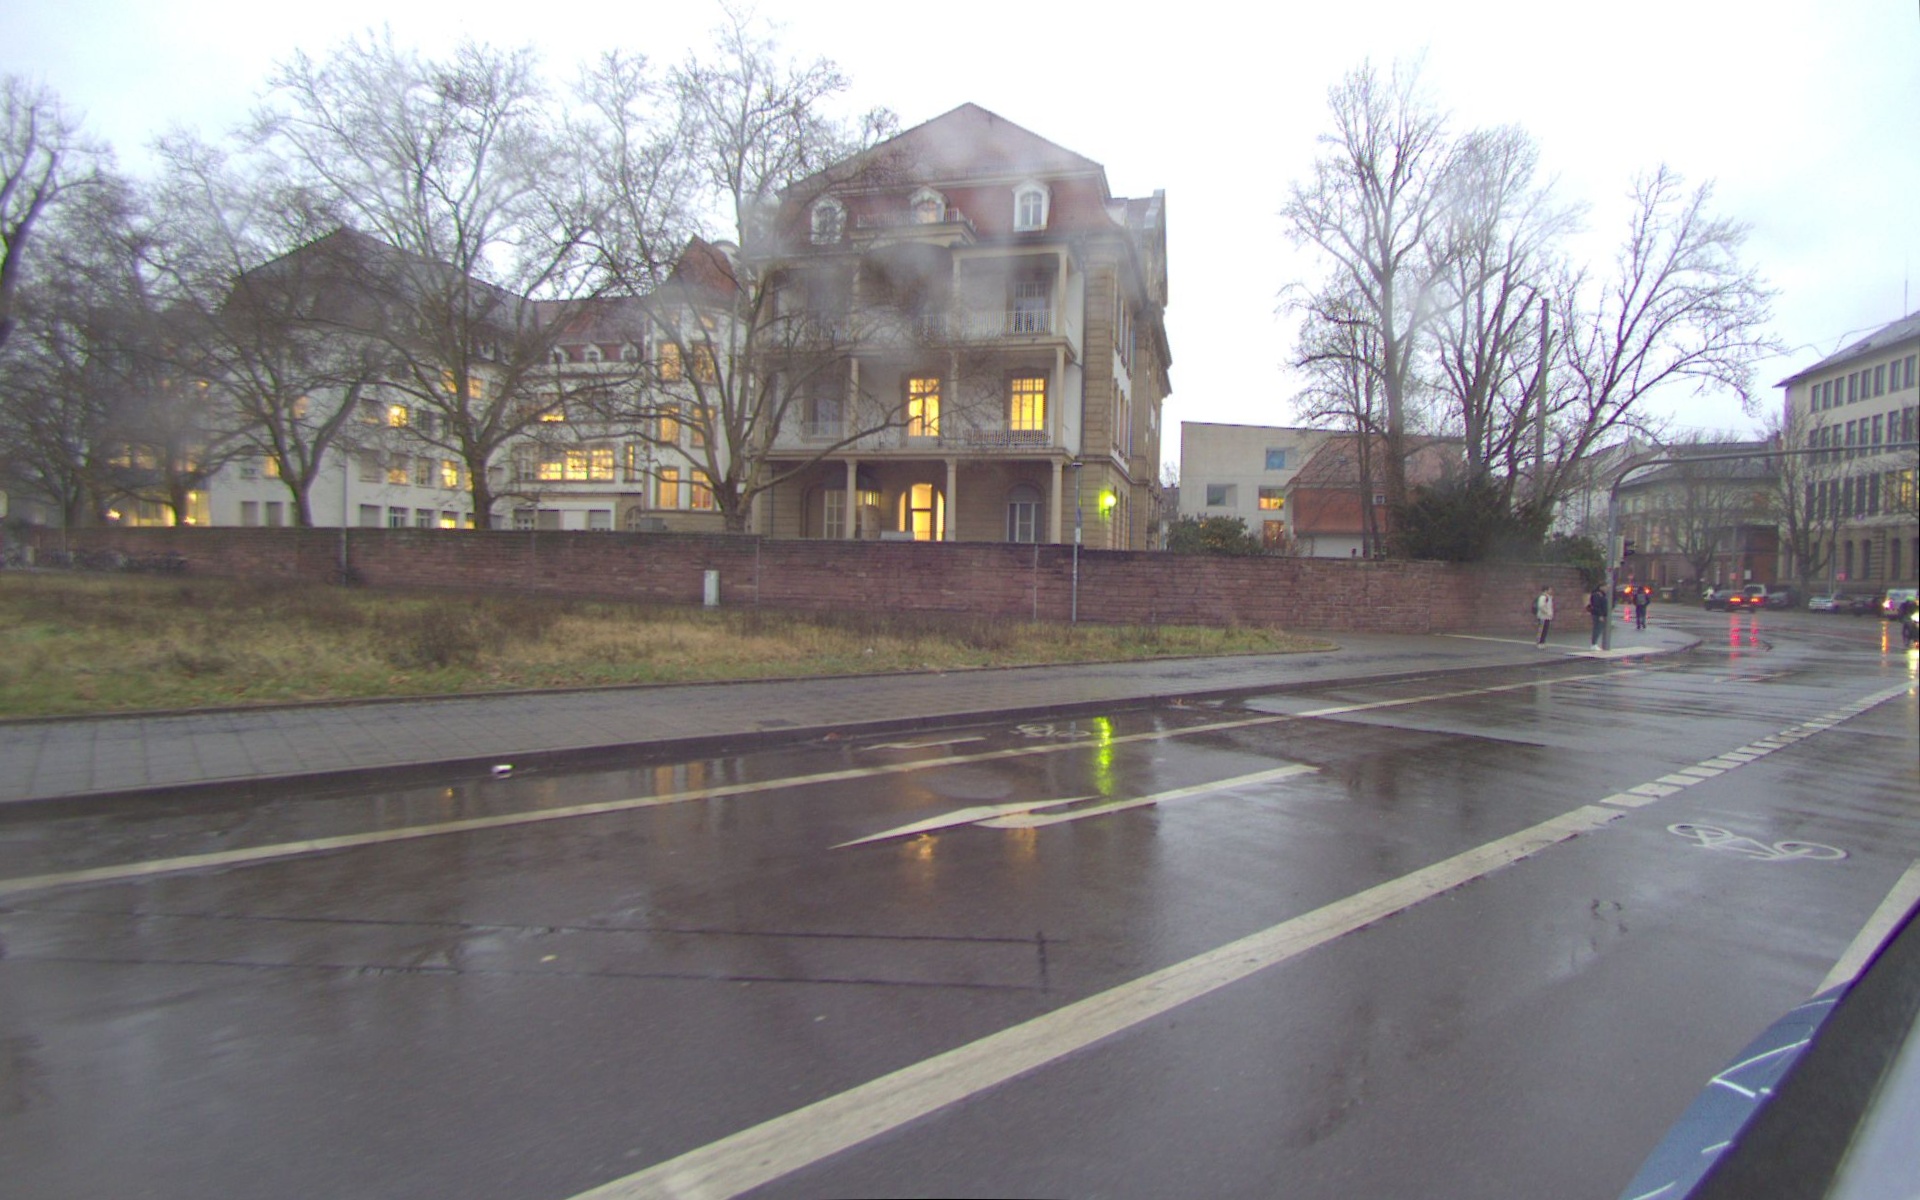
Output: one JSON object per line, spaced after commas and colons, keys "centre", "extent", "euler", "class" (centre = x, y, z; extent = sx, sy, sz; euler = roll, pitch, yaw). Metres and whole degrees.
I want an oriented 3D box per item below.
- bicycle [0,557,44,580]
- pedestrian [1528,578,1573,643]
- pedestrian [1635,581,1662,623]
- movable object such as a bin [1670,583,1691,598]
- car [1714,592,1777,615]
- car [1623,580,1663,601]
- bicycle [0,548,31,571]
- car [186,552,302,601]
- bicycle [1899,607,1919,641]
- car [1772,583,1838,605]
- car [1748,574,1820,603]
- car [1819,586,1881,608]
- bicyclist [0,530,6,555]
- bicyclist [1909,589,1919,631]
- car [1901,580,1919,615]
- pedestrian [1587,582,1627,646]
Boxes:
{"centre": [-41.708, -1.388, 44.298], "extent": [2.371, 1.003, 0.479], "euler": [-3, 2, -41], "class": "bicycle"}
{"centre": [16.231, 0.271, 27.850], "extent": [0.953, 1.696, 0.772], "euler": [3, 2, 28], "class": "pedestrian"}
{"centre": [28.607, 0.068, 42.045], "extent": [0.802, 1.705, 1.143], "euler": [4, 2, 33], "class": "pedestrian"}
{"centre": [68.856, -0.915, 96.770], "extent": [0.966, 1.482, 1.347], "euler": [-2, 2, -22], "class": "movable object such as a bin"}
{"centre": [54.022, 0.213, 69.673], "extent": [1.727, 1.395, 4.348], "euler": [3, 3, 14], "class": "car"}
{"centre": [58.115, -0.847, 86.209], "extent": [1.738, 1.682, 4.501], "euler": [3, 3, 20], "class": "car"}
{"centre": [-42.462, -1.788, 44.487], "extent": [2.371, 1.003, 0.537], "euler": [-3, 2, -41], "class": "bicycle"}
{"centre": [-15.973, -0.535, 22.700], "extent": [1.275, 0.989, 2.688], "euler": [2, 2, -16], "class": "car"}
{"centre": [32.470, 0.809, 33.997], "extent": [0.717, 1.104, 2.265], "euler": [1, 0, 25], "class": "bicycle"}
{"centre": [64.240, -0.487, 76.959], "extent": [3.894, 1.558, 1.828], "euler": [-1, 2, -12], "class": "car"}
{"centre": [65.000, -0.926, 79.843], "extent": [4.526, 2.079, 1.970], "euler": [-1, 2, -12], "class": "car"}
{"centre": [63.267, -0.226, 71.971], "extent": [3.747, 1.475, 1.641], "euler": [-2, 2, -18], "class": "car"}
{"centre": [-41.957, -2.499, 43.946], "extent": [0.689, 1.093, 0.494], "euler": [-2, 2, -40], "class": "bicyclist"}
{"centre": [32.446, 0.329, 33.927], "extent": [0.710, 1.359, 0.713], "euler": [0, 1, 25], "class": "bicyclist"}
{"centre": [59.440, -0.182, 61.207], "extent": [4.704, 2.058, 1.917], "euler": [-2, 2, -22], "class": "car"}
{"centre": [17.784, 0.364, 27.820], "extent": [0.788, 1.696, 0.720], "euler": [4, 3, 37], "class": "pedestrian"}
